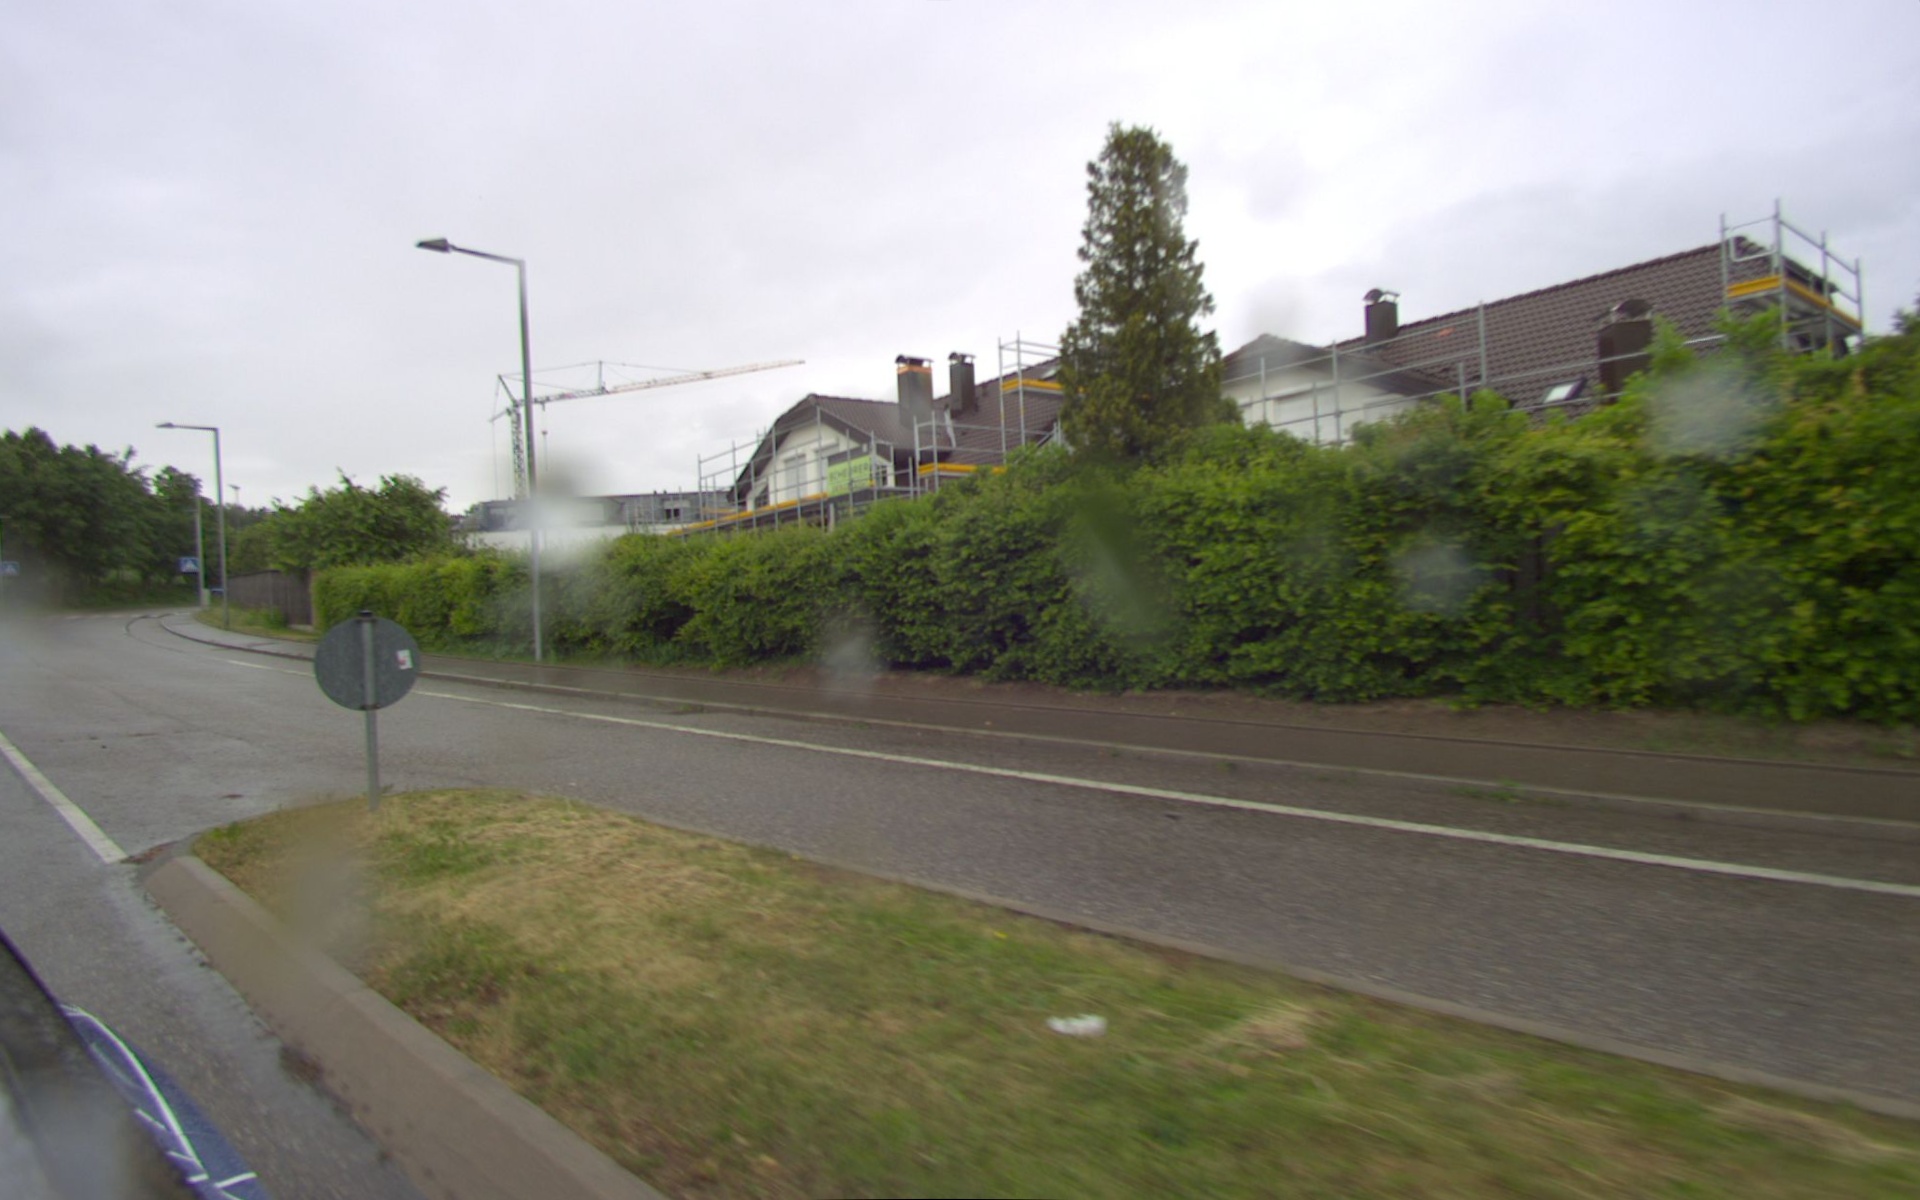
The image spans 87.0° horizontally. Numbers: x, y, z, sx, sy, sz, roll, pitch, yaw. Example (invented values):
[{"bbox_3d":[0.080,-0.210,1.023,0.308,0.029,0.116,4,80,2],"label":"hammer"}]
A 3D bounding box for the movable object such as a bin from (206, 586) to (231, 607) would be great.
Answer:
[{"bbox_3d":[-51.544,-0.228,70.356,1.116,1.331,1.367,-6,3,-29],"label":"movable object such as a bin"}]
